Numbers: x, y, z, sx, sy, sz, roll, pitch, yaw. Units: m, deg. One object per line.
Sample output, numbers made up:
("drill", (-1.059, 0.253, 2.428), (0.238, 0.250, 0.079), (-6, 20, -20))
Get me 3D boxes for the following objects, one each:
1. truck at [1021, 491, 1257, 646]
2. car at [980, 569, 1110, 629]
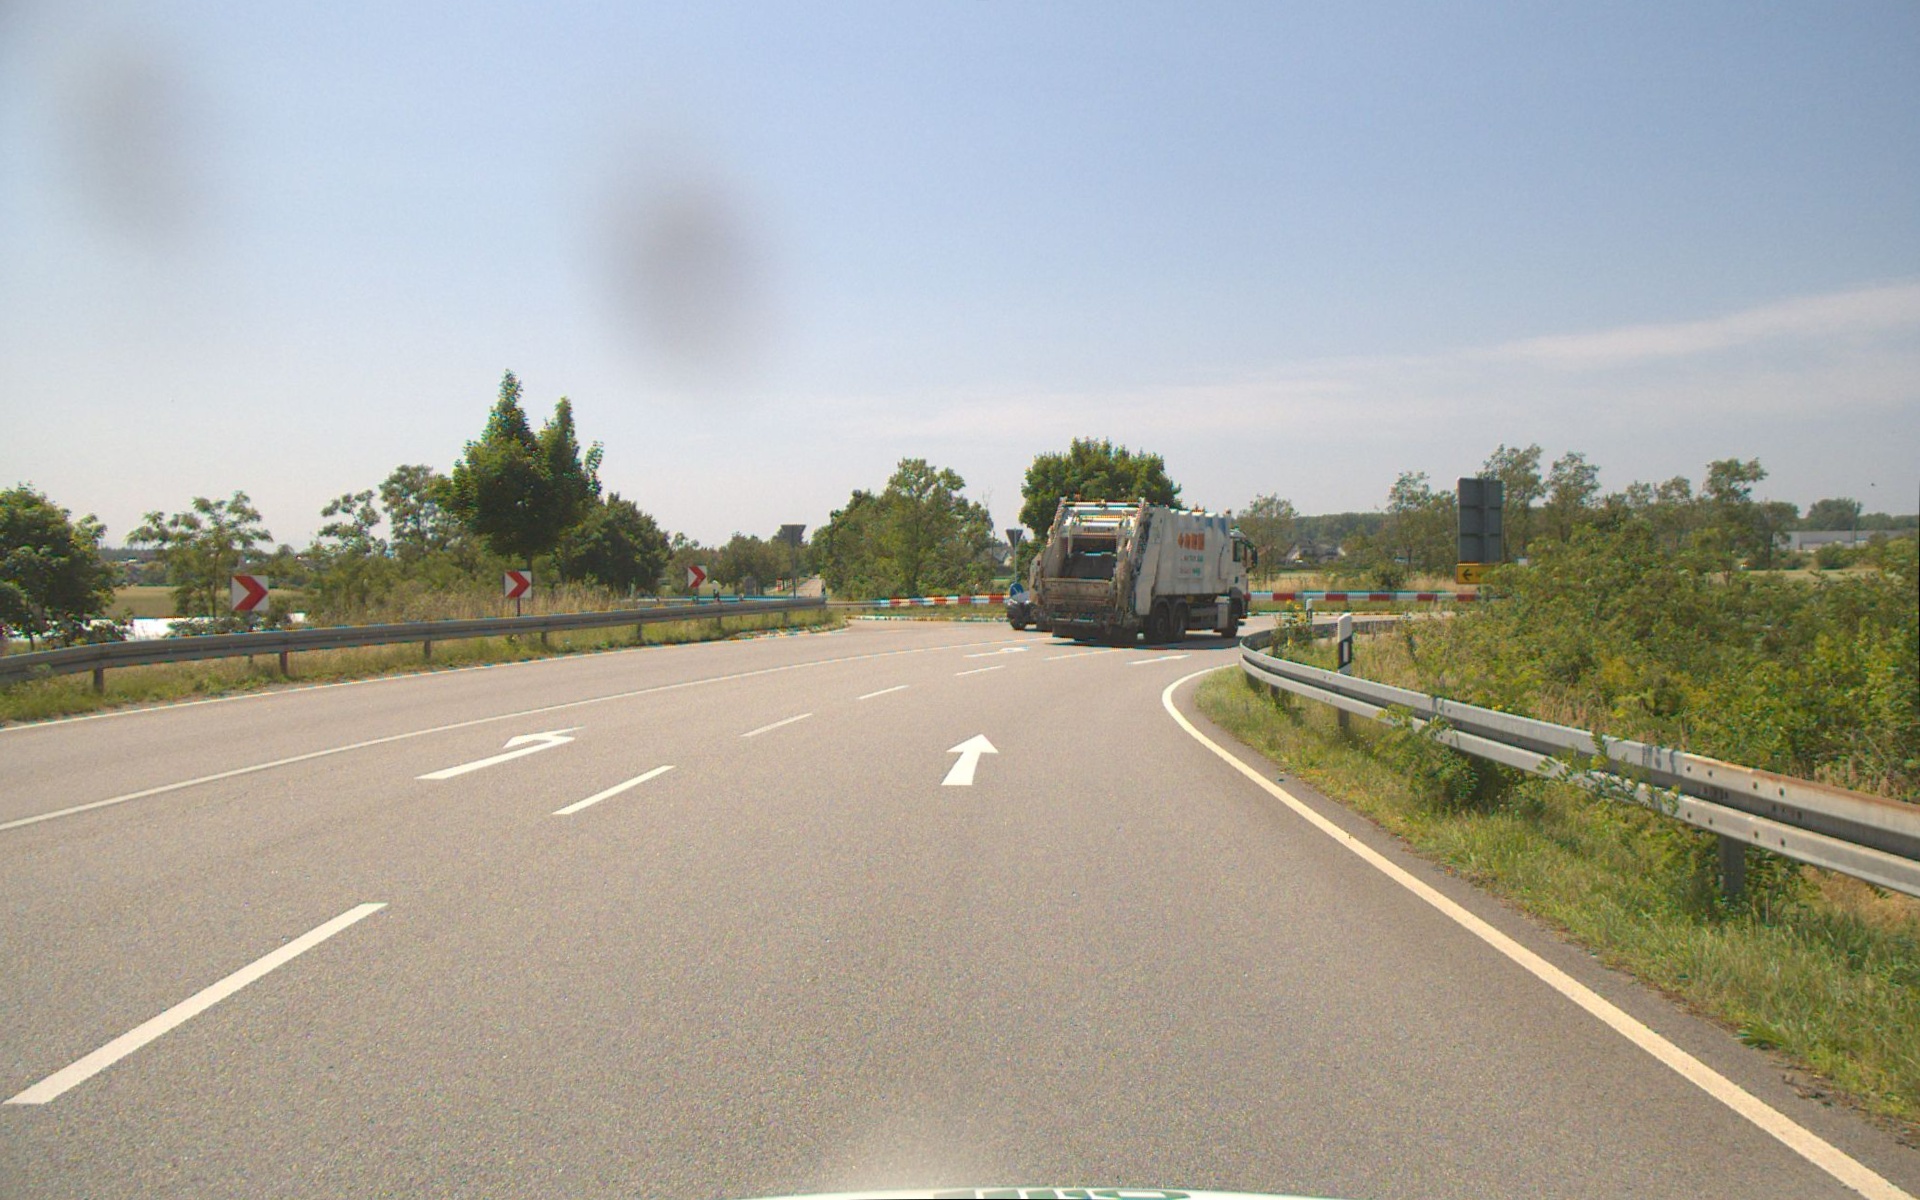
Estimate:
("truck", (5.128, -0.776, 44.910), (2.760, 3.733, 9.931), (1, 0, 29))
("car", (2.618, -0.041, 49.734), (1.683, 1.686, 4.550), (3, 2, 36))
